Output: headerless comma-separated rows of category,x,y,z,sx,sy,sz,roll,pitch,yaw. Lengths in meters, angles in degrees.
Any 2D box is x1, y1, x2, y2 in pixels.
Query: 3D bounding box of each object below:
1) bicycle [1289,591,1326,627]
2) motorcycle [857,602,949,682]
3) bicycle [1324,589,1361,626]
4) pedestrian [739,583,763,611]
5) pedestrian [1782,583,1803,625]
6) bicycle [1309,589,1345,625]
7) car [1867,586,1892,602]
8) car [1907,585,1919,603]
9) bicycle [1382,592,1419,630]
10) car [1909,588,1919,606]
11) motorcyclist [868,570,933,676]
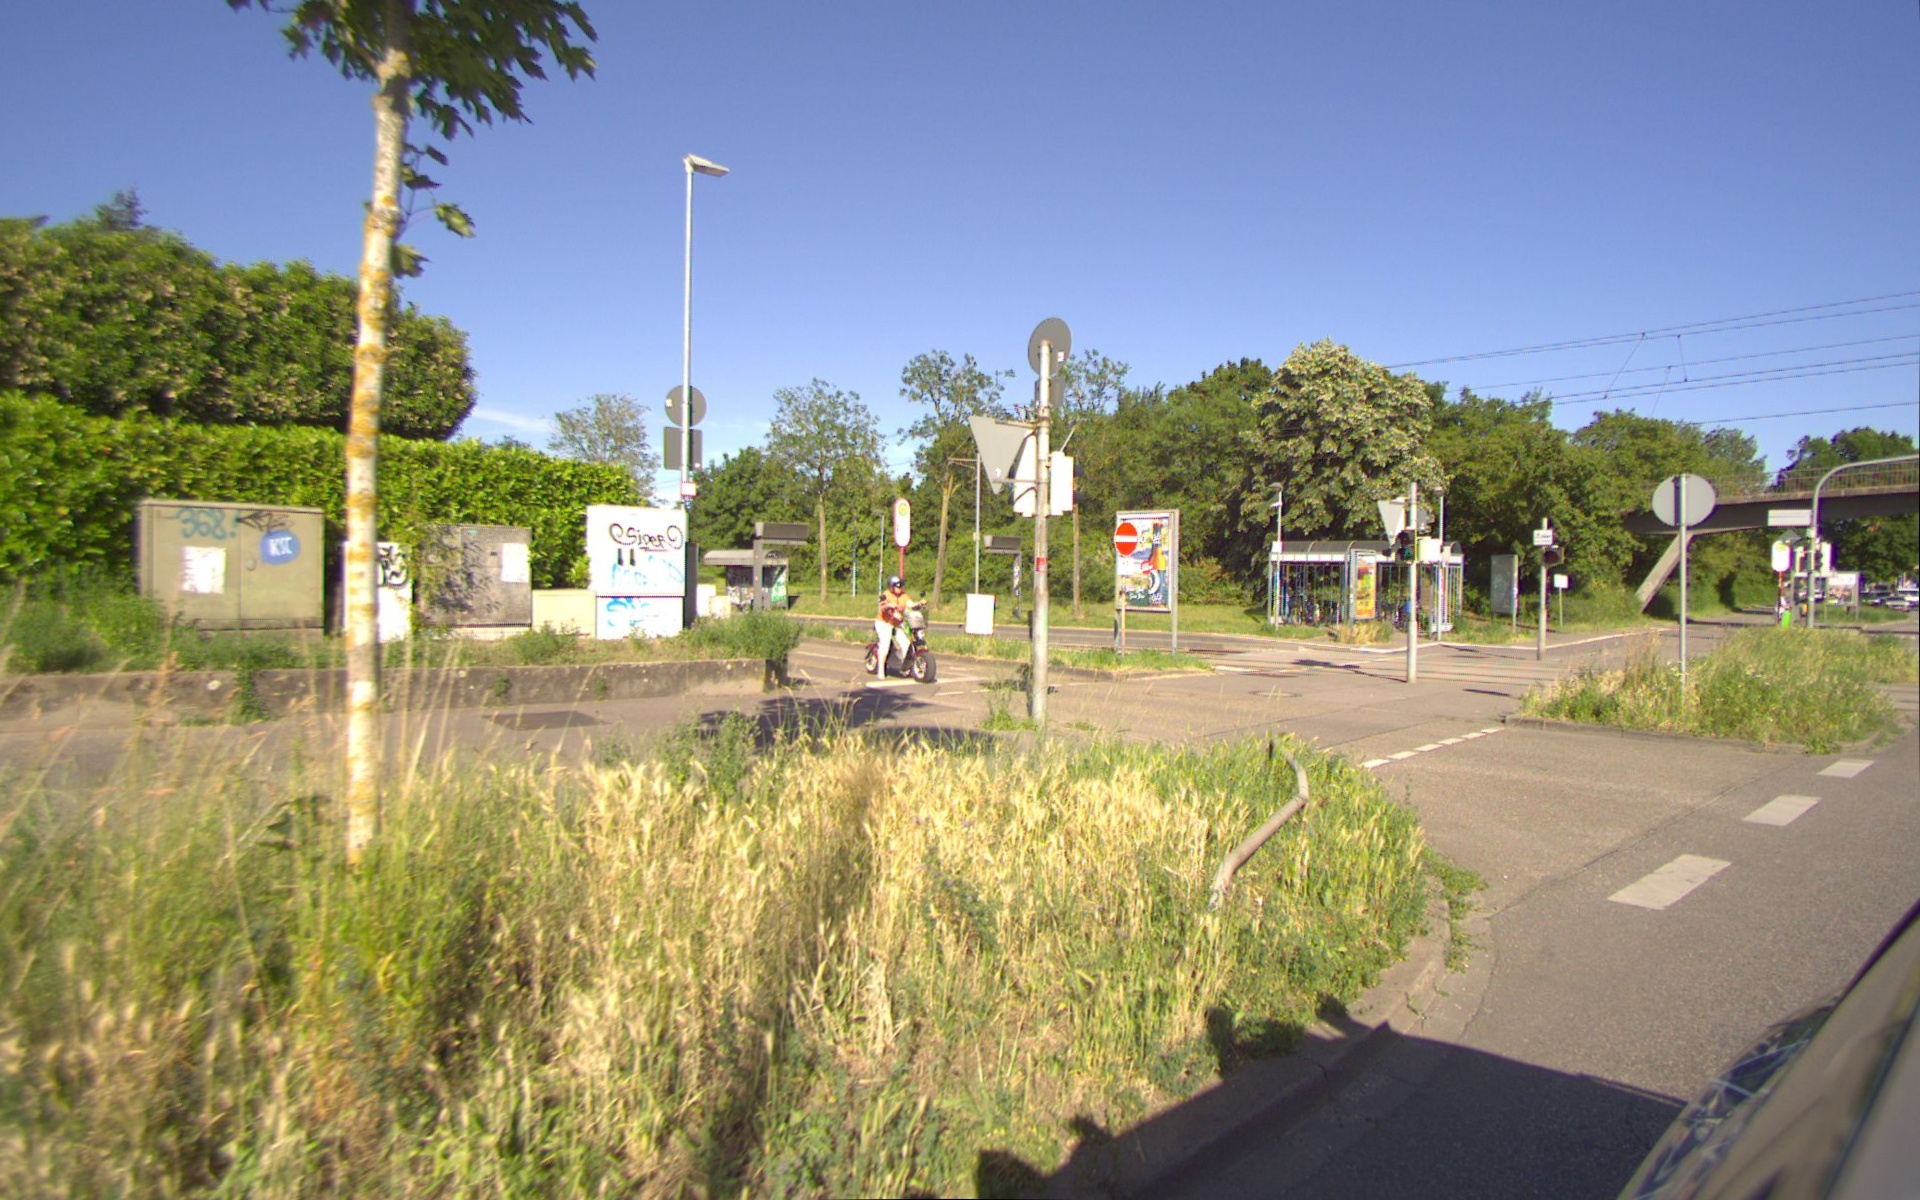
bicycle,12.240,0.292,35.629,1.757,1.079,0.430,-6,7,-43
motorcycle,-0.890,0.605,15.459,0.443,1.084,1.760,1,2,-39
bicycle,13.110,0.255,34.673,1.757,1.079,0.430,-6,7,-43
pedestrian,-9.927,-0.149,47.981,0.925,1.258,0.560,-4,3,-43
pedestrian,34.180,0.168,41.559,0.587,1.683,0.706,2,1,42
bicycle,12.738,0.217,35.122,1.757,1.079,0.430,-6,7,-43
car,99.574,-0.651,109.642,1.866,1.641,3.780,1,1,40
car,90.561,-0.579,95.318,1.867,1.641,3.779,1,1,41
bicycle,14.349,0.340,32.927,1.757,1.079,0.430,-6,7,-43
car,108.175,-0.352,113.734,1.991,2.039,3.942,1,1,40
motorcyclist,-0.912,0.335,15.527,0.687,1.577,0.695,0,2,-39
